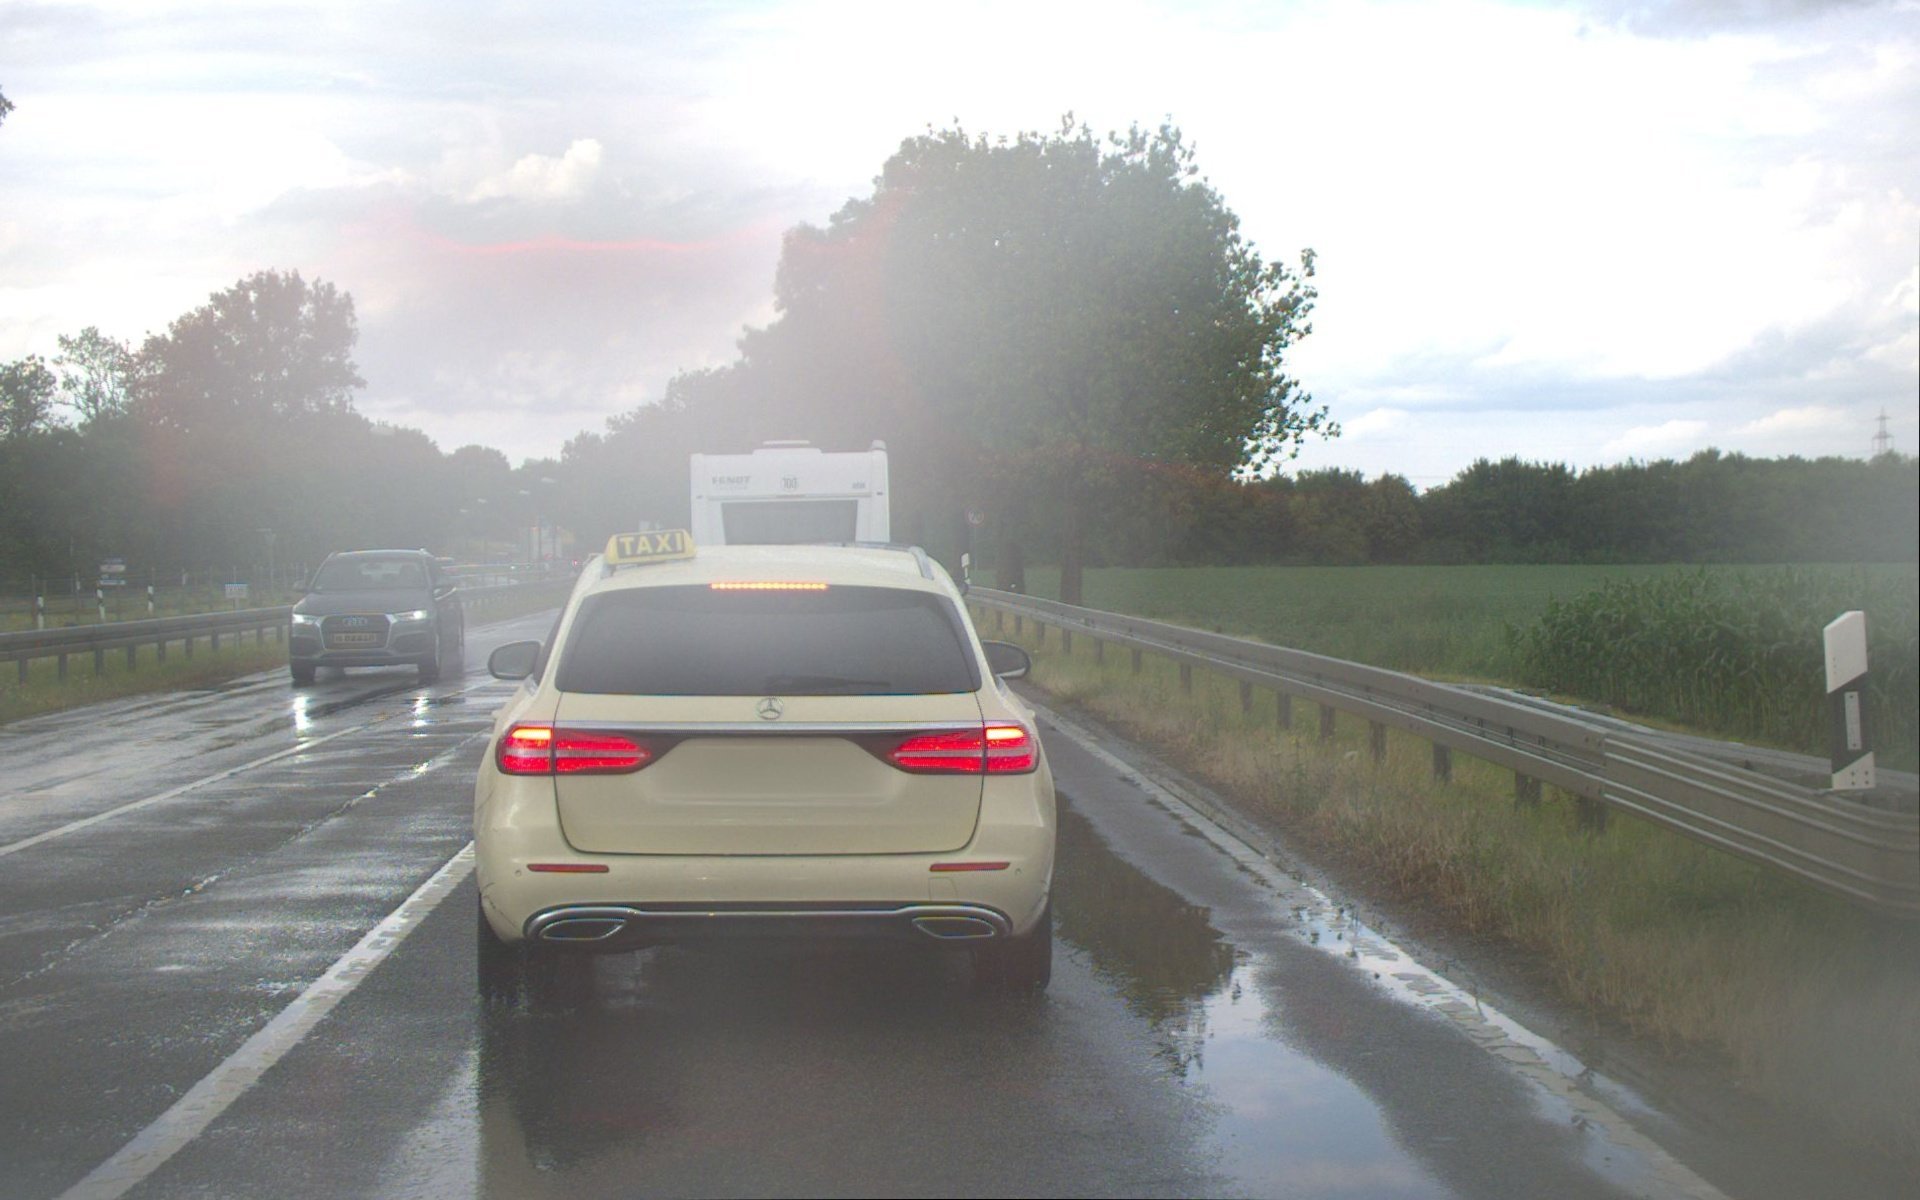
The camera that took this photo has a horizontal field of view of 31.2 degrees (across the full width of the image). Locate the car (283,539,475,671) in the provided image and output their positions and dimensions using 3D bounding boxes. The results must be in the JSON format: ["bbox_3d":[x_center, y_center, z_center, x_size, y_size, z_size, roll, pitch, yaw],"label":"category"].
[{"bbox_3d":[-7.257,0.022,43.291,1.769,1.518,4.142,-2,1,-1],"label":"car"}]

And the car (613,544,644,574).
[{"bbox_3d":[-22.676,-2.833,235.119,1.993,2.007,4.001,0,1,-7],"label":"car"}]

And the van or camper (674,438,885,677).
[{"bbox_3d":[-2.140,-0.544,41.611,2.350,2.671,5.769,-1,1,-2],"label":"van or camper"}]

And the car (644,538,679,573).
[{"bbox_3d":[-17.486,-2.598,201.431,1.993,2.007,4.001,0,1,-5],"label":"car"}]

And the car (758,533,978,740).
[{"bbox_3d":[-0.765,0.237,27.666,1.627,1.524,3.933,-1,1,-2],"label":"car"}]

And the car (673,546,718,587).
[{"bbox_3d":[-12.957,-1.652,168.335,1.993,2.007,4.001,0,1,-7],"label":"car"}]

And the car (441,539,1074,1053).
[{"bbox_3d":[-0.627,0.536,12.032,1.825,1.480,4.145,0,1,-1],"label":"car"}]
